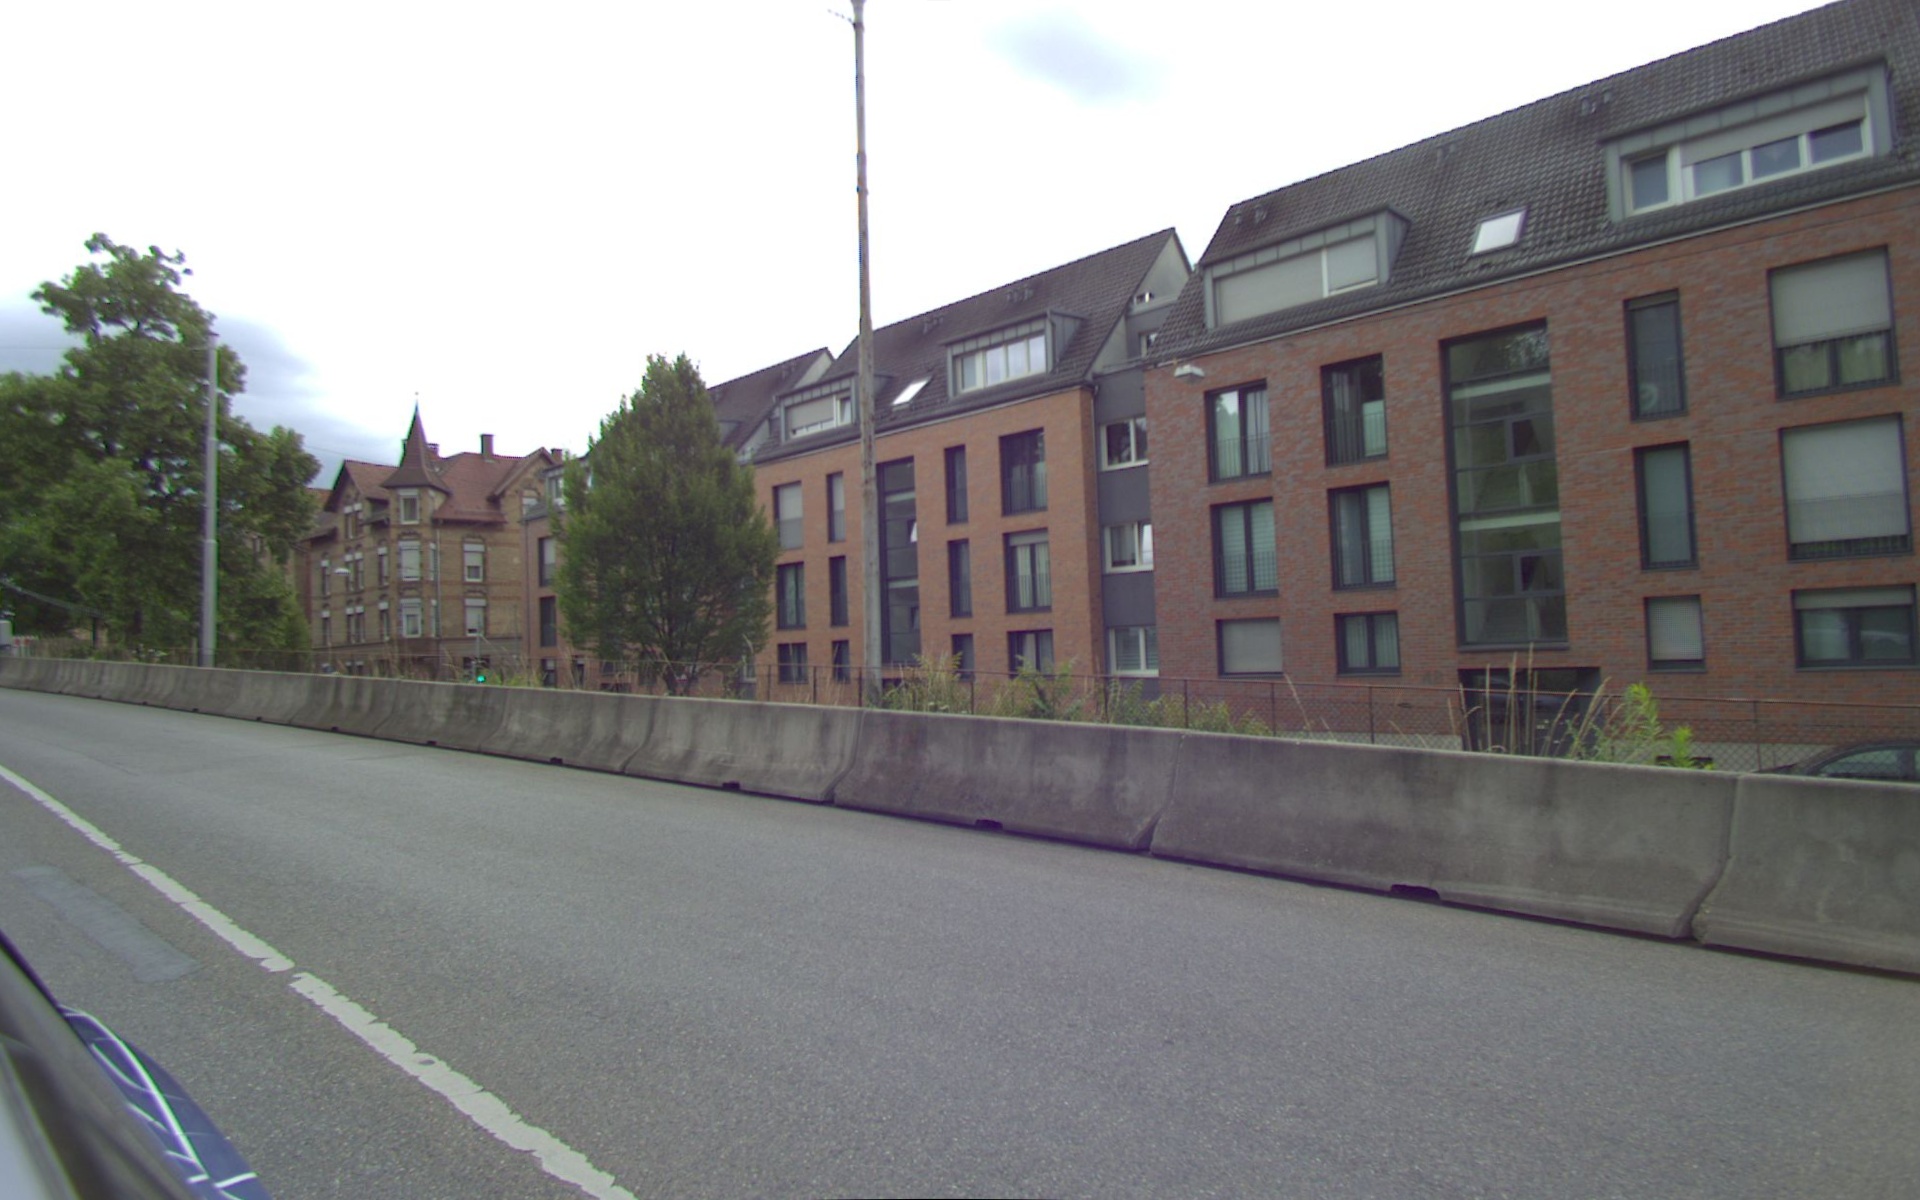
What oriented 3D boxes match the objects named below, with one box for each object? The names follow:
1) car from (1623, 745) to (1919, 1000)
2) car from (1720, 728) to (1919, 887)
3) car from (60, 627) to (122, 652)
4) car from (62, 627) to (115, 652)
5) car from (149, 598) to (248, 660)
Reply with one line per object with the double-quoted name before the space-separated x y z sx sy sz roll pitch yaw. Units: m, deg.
"car" 7.429 2.049 7.557 3.995 1.525 1.519 -2 -2 39
"car" 13.066 2.871 14.125 3.764 1.815 1.696 -3 -1 41
"car" -48.942 2.238 56.978 3.996 1.364 1.973 -2 -3 40
"car" -57.145 2.568 66.349 3.996 1.564 1.973 -1 -2 40
"car" -34.353 1.256 45.586 5.735 2.601 2.531 -1 0 43
